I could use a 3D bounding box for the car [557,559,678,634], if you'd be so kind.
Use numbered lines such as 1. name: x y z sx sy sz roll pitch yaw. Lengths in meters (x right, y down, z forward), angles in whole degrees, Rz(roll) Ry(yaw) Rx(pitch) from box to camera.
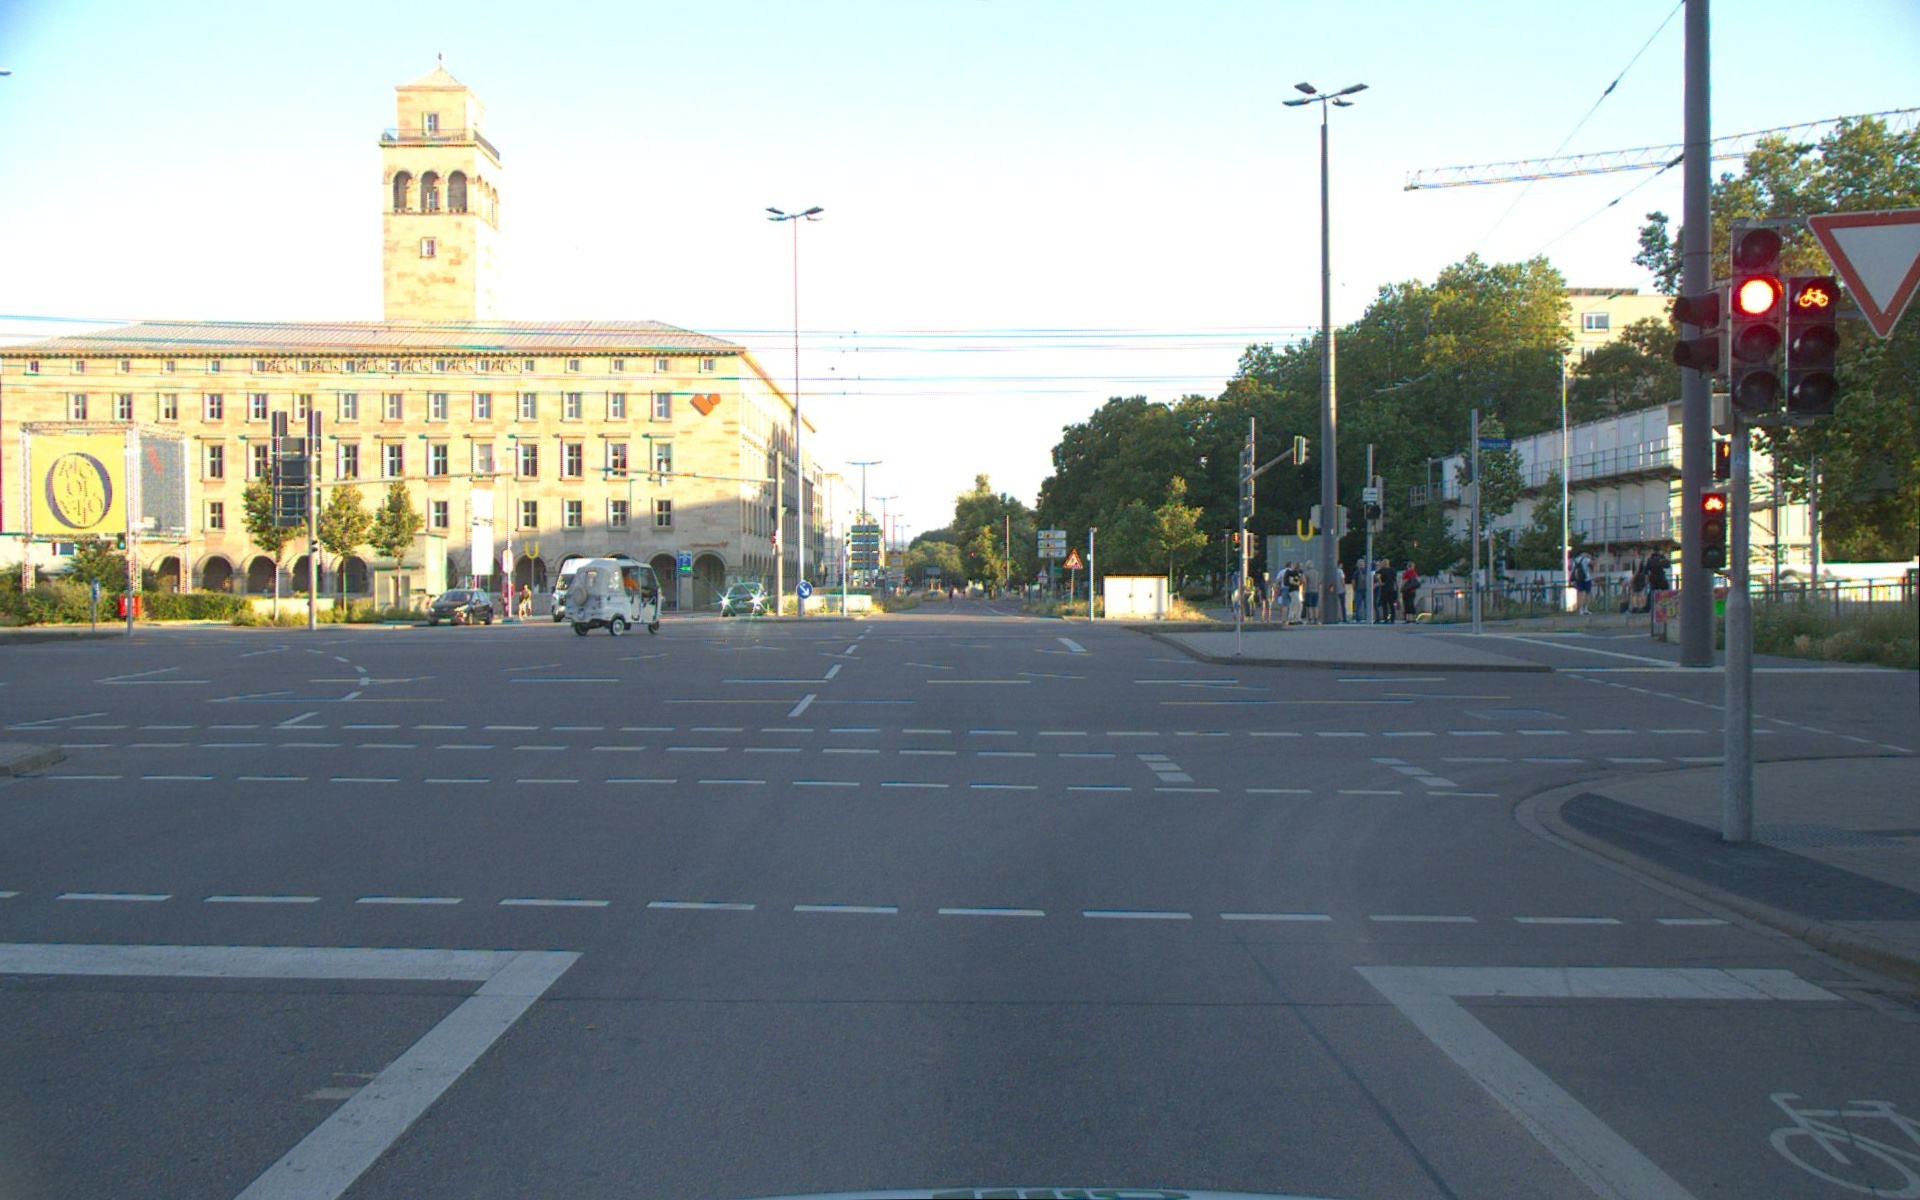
1. car: -8.215 -0.097 39.874 1.453 1.725 2.974 0 1 22

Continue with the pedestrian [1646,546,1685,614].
1. pedestrian: 18.378 -0.525 43.110 0.654 1.755 0.711 -1 1 -12

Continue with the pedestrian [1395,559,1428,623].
1. pedestrian: 12.606 -0.264 46.203 0.826 1.764 0.706 0 1 11

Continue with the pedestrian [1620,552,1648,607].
1. pedestrian: 18.111 -0.544 44.434 0.662 1.466 0.714 0 1 21

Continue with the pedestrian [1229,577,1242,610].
1. pedestrian: 15.092 -0.339 90.599 0.628 1.791 0.525 0 1 7

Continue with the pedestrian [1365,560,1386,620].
1. pedestrian: 11.886 -0.283 47.310 0.560 1.708 0.639 0 1 13

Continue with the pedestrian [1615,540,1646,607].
1. pedestrian: 17.725 -0.689 43.747 0.696 1.755 0.669 0 1 16

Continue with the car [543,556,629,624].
1. car: -16.246 -0.472 72.235 2.232 2.824 6.085 -1 1 1

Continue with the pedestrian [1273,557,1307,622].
1. pedestrian: 9.032 -0.280 45.230 0.892 1.755 0.714 0 1 13

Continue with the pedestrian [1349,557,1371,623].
1. pedestrian: 11.079 -0.289 45.816 0.560 1.822 0.639 0 1 13

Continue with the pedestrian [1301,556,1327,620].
1. pedestrian: 9.808 -0.326 45.859 0.695 1.755 0.669 0 1 13

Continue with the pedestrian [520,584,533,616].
1. pedestrian: -24.267 -0.017 92.684 0.609 1.774 0.459 1 -1 -6

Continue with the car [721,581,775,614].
1. car: -9.257 -0.134 72.490 1.785 1.365 4.001 0 1 1

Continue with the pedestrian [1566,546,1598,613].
1. pedestrian: 16.527 -0.539 43.950 0.654 1.755 0.711 0 1 32

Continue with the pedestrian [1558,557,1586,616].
1. pedestrian: 16.705 -0.371 45.152 0.559 1.620 0.536 -1 0 -1

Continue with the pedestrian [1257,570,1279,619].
1. pedestrian: 11.311 -0.207 60.731 0.665 1.788 0.902 0 1 20

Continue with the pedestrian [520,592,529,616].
1. pedestrian: -24.120 0.243 91.648 0.412 1.323 0.459 1 -1 -6

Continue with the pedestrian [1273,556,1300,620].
1. pedestrian: 9.066 -0.339 45.959 0.695 1.755 0.669 0 1 14

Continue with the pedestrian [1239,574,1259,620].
1. pedestrian: 10.634 -0.120 60.861 0.548 1.683 0.902 0 1 20

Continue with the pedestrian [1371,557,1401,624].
1. pedestrian: 11.798 -0.264 45.820 0.788 1.822 0.801 0 1 13

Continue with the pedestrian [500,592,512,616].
1. pedestrian: -25.192 0.221 91.740 0.496 1.323 0.700 1 -1 -6

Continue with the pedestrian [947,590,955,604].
1. pedestrian: -1.092 -0.371 194.707 0.888 1.700 1.306 -1 1 -2

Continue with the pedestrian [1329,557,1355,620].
1. pedestrian: 10.781 -0.339 46.702 0.695 1.755 0.916 0 1 12

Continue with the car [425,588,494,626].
1. car: -21.112 0.280 69.923 1.786 1.491 4.156 -1 1 -2

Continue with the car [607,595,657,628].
1. car: -16.021 0.542 80.943 1.703 1.513 4.000 -1 1 -1
